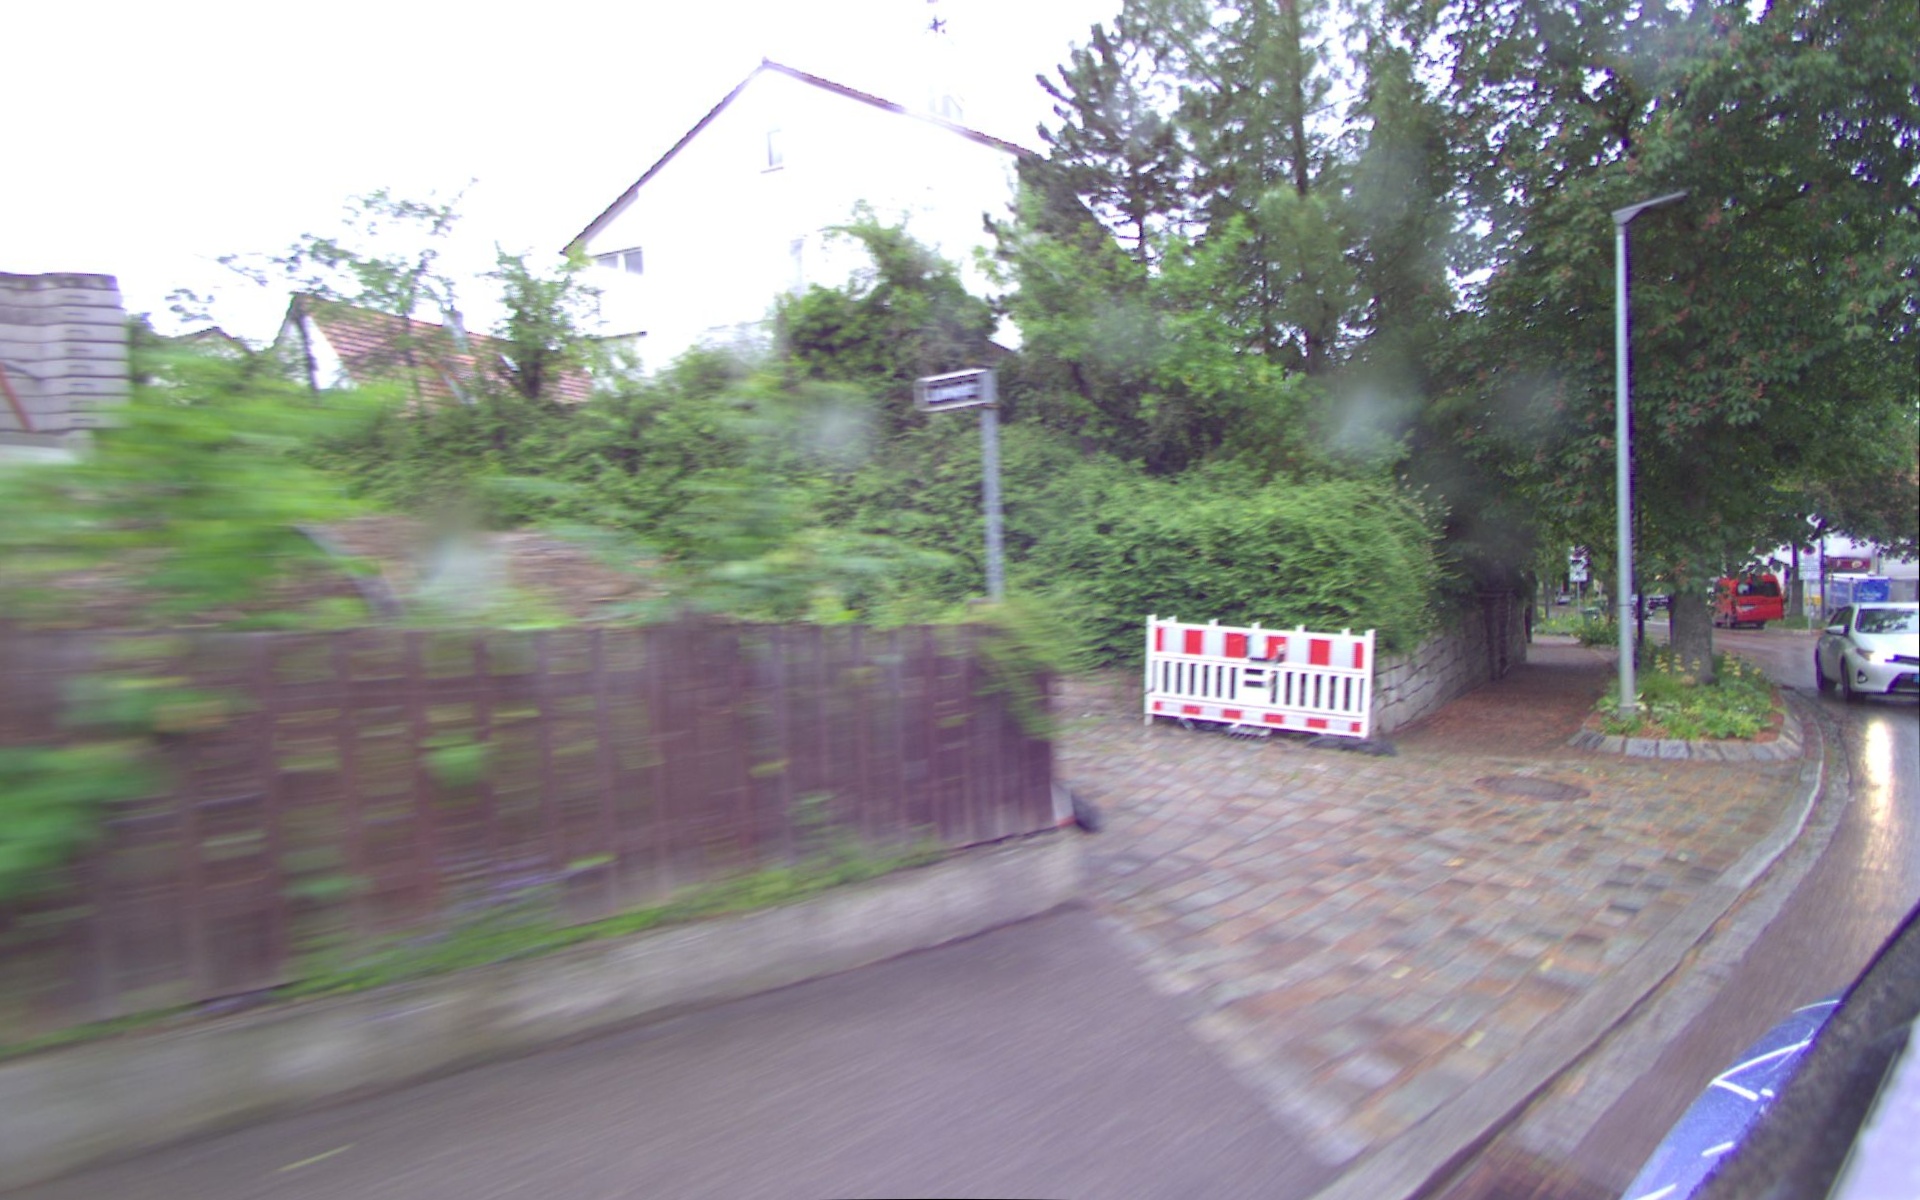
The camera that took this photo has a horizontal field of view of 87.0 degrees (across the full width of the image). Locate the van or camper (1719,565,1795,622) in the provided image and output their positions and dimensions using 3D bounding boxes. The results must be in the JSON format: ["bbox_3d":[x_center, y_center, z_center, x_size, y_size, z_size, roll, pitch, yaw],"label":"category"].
[{"bbox_3d":[37.285,-0.318,47.471,1.982,2.565,4.698,0,0,28],"label":"van or camper"}]

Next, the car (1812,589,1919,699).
[{"bbox_3d":[14.453,0.591,15.255,1.846,1.453,3.972,-2,0,32],"label":"car"}]
